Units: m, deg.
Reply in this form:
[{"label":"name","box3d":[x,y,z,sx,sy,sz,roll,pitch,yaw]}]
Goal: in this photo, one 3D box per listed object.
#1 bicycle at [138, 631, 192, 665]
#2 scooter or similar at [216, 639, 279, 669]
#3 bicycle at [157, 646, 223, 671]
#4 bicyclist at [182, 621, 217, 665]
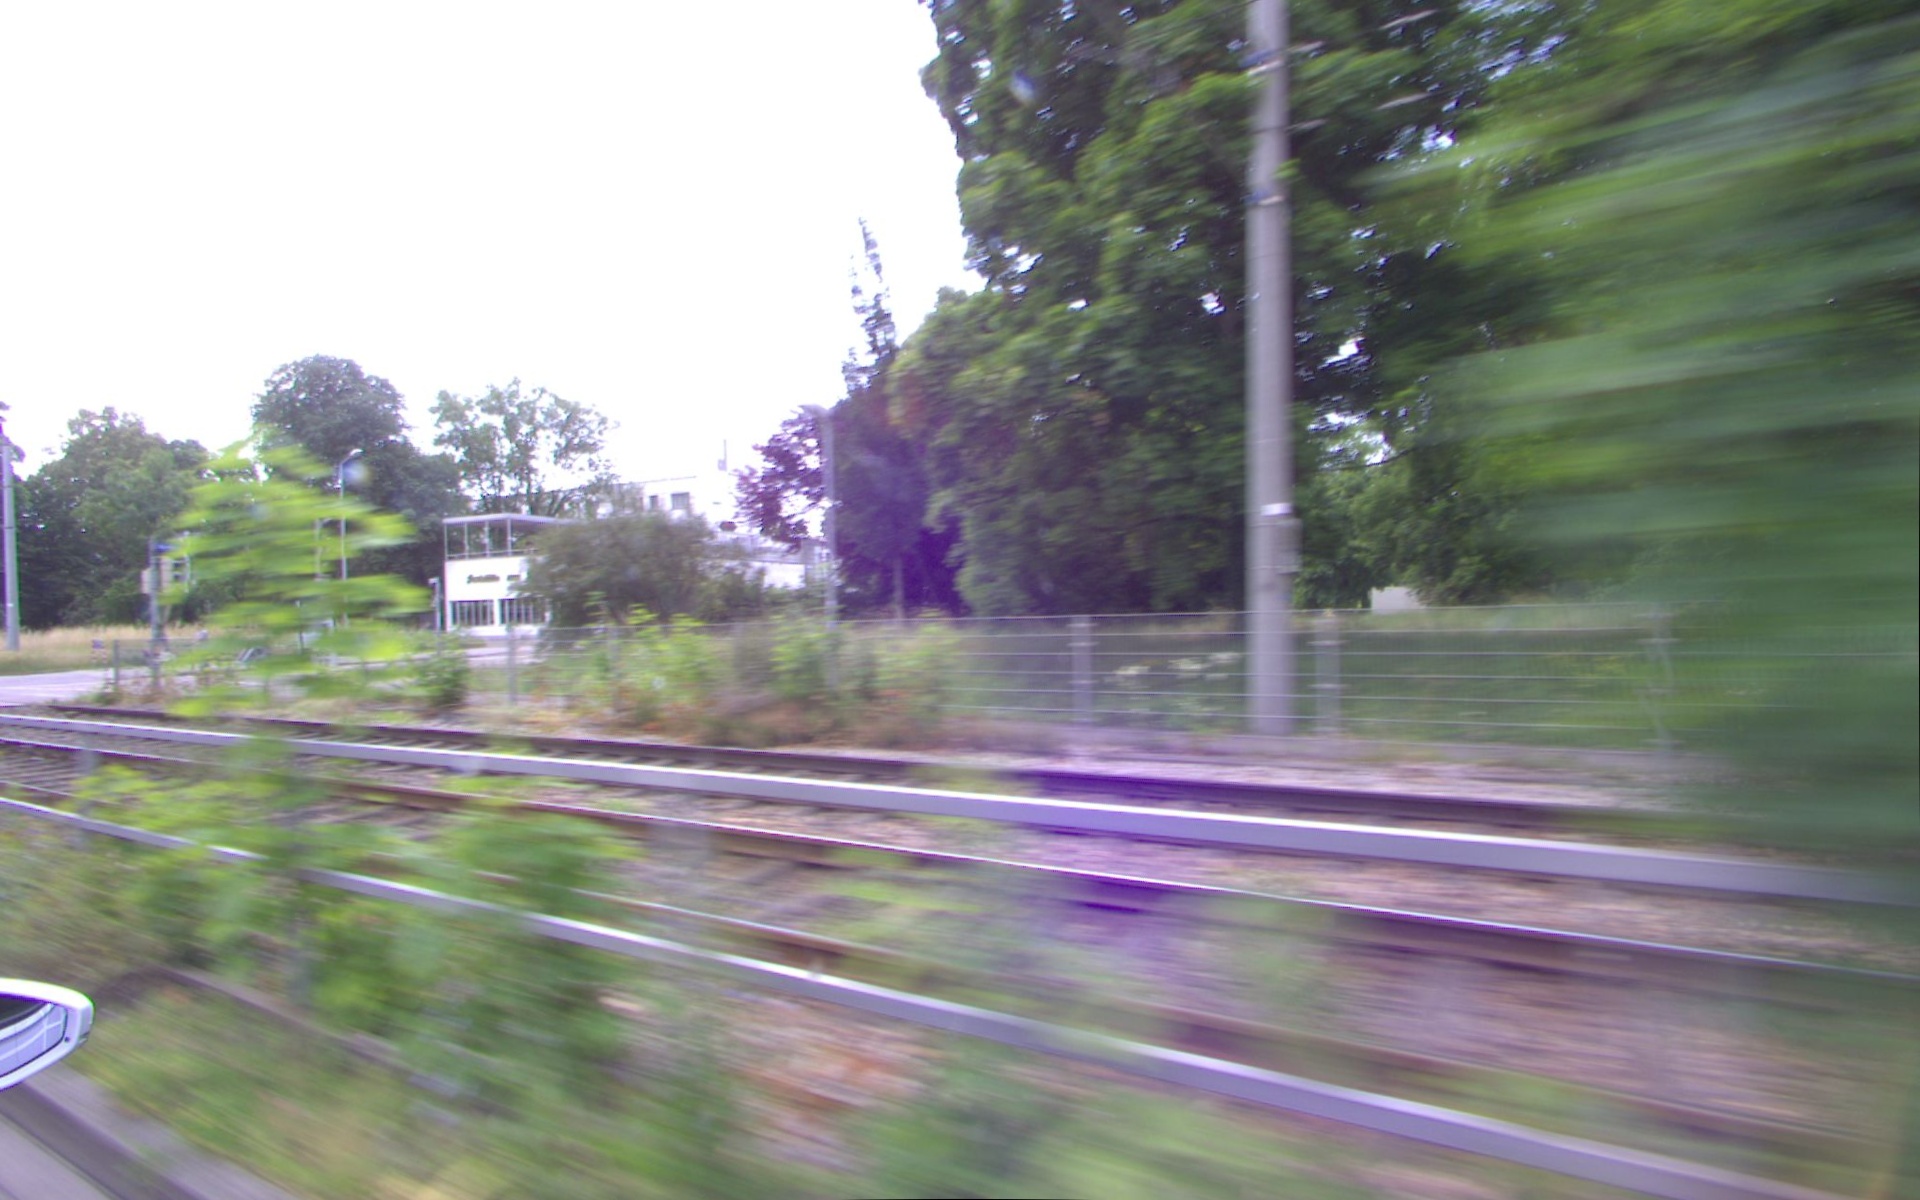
[{"label":"bicycle","box3d":[-29.351,1.769,36.997,0.688,1.148,1.660,-1,1,-2]},{"label":"scooter or similar","box3d":[-25.402,1.906,35.711,0.950,0.992,1.570,-2,0,35]},{"label":"bicycle","box3d":[-26.447,2.002,34.418,0.548,0.775,1.717,-2,-2,34]},{"label":"bicyclist","box3d":[-26.306,1.490,34.655,0.449,1.495,0.836,-1,0,35]}]
